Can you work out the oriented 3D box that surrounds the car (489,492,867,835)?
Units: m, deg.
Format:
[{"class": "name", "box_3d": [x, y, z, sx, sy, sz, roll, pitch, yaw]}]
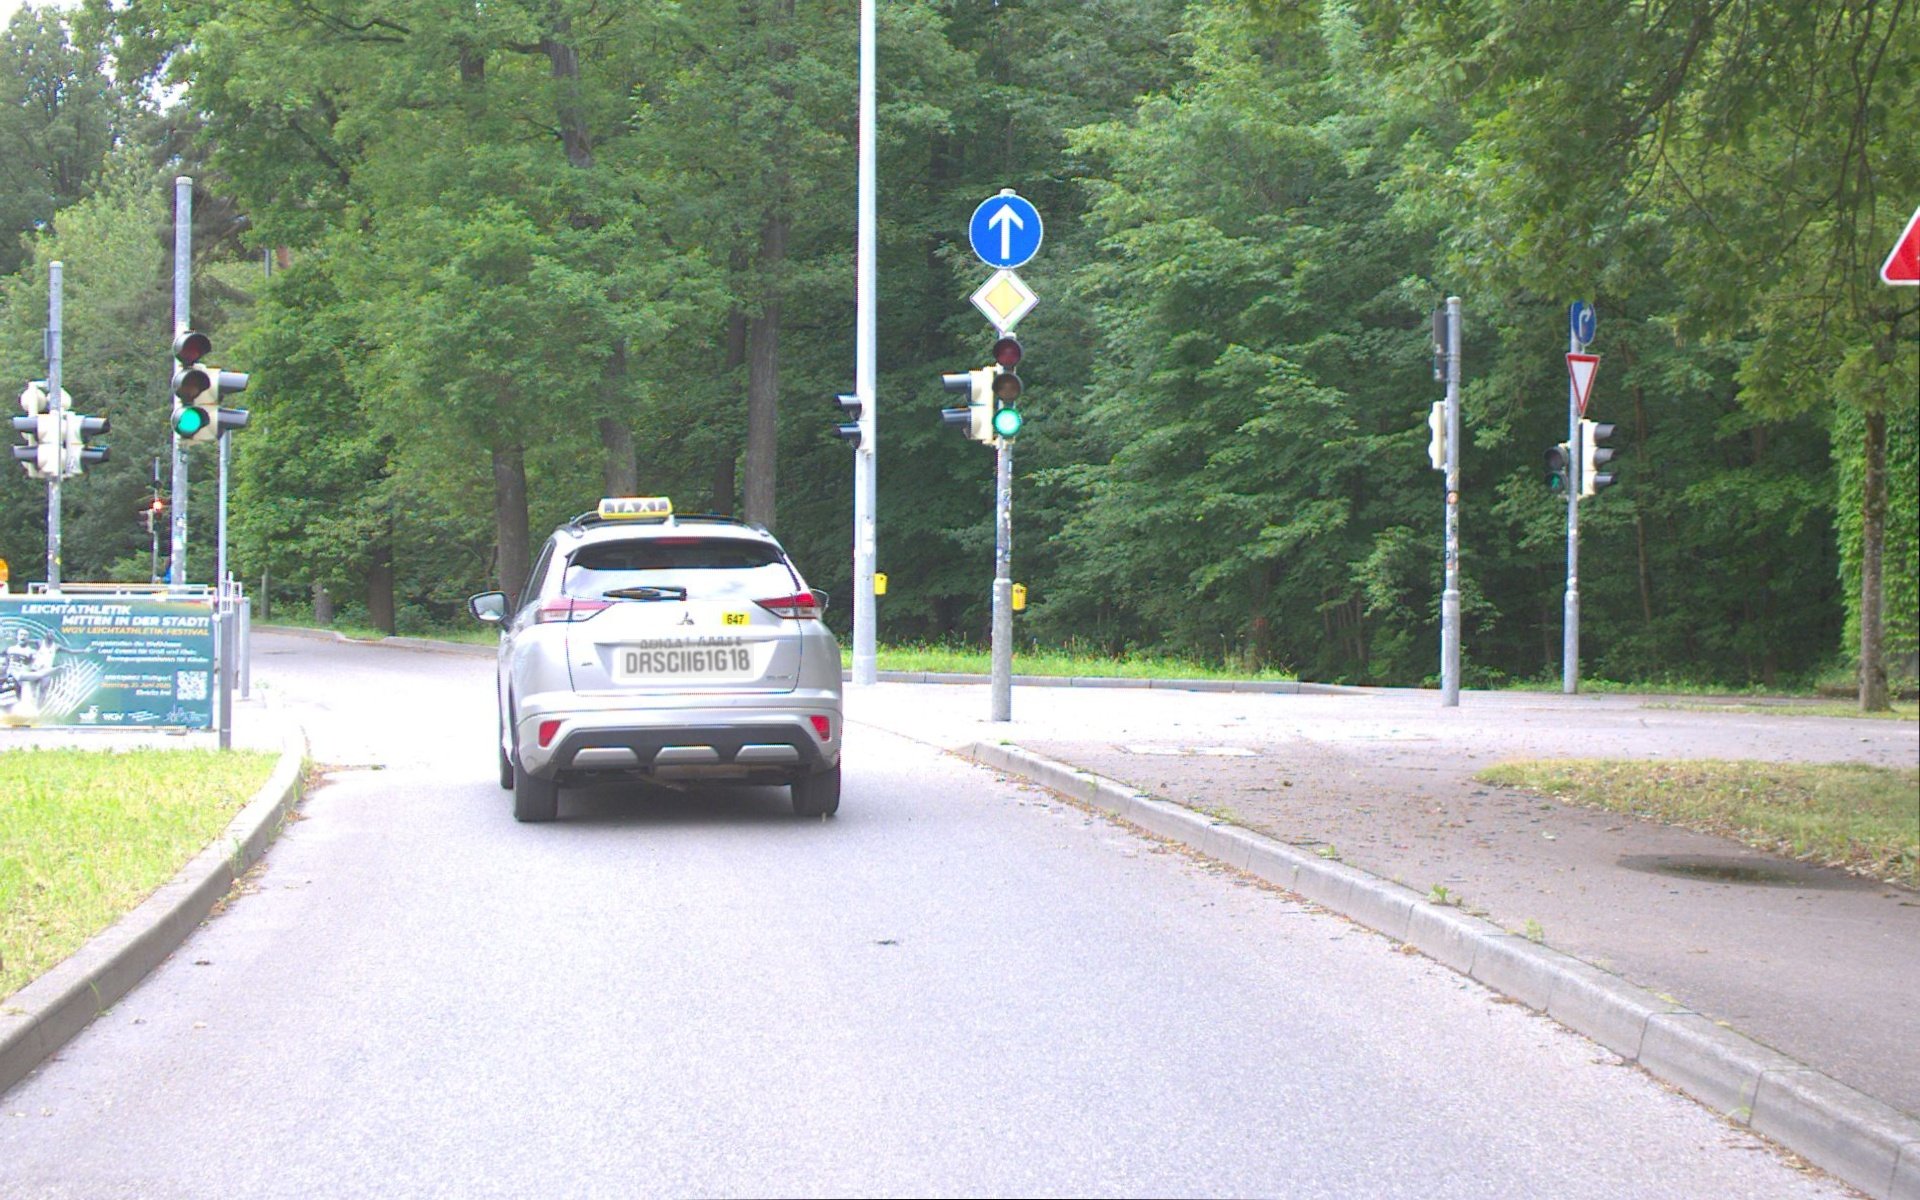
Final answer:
[{"class": "car", "box_3d": [-1.734, 0.296, 19.893, 1.846, 1.774, 4.001, 0, 1, -10]}]

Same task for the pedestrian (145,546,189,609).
[{"class": "pedestrian", "box_3d": [-21.076, -0.609, 91.373, 1.047, 1.643, 1.069, -1, 1, -16]}]
